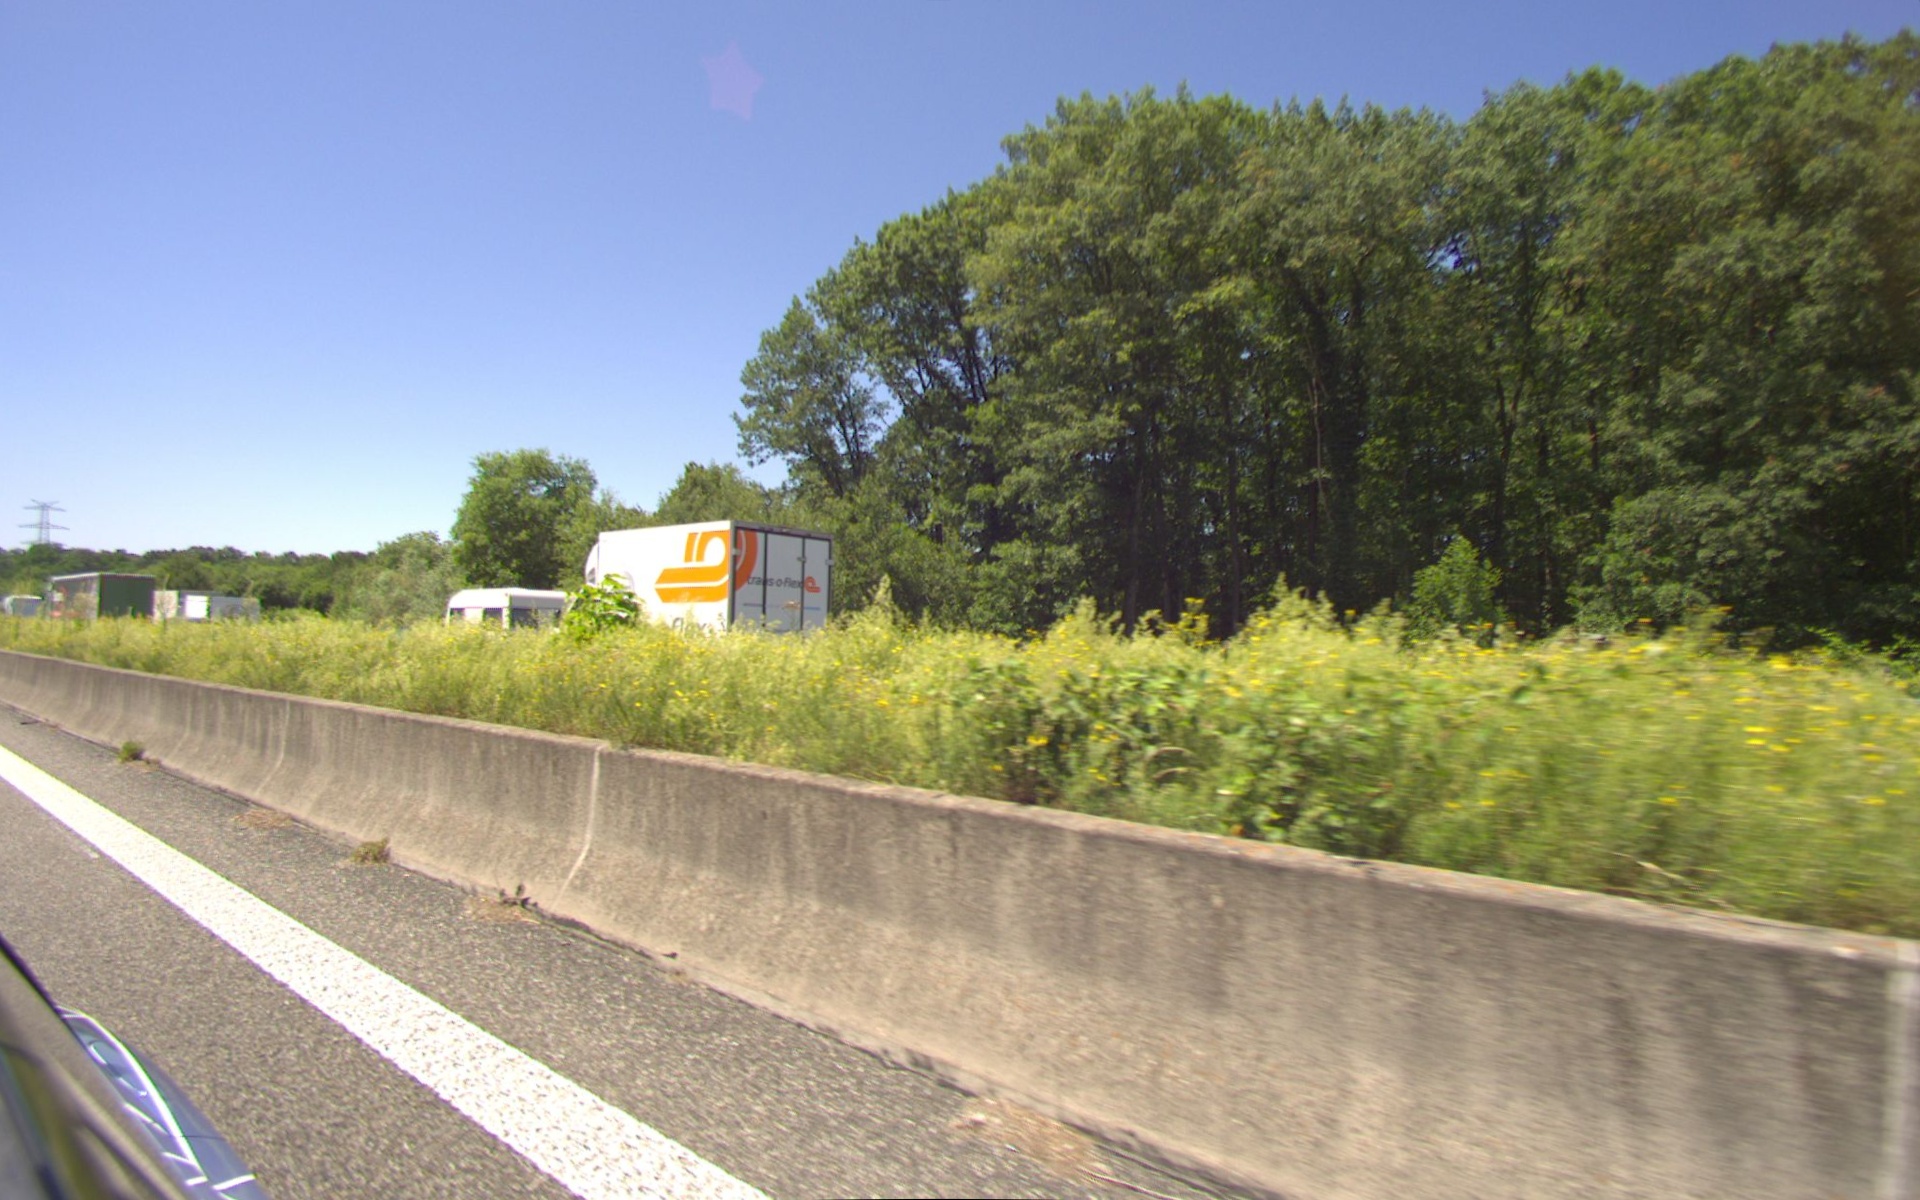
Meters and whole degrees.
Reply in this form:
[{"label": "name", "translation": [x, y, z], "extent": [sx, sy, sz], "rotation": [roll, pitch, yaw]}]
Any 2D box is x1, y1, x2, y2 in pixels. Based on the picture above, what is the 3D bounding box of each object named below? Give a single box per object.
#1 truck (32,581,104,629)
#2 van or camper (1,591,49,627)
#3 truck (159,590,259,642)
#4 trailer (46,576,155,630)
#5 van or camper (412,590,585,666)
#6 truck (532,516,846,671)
[{"label": "truck", "translation": [-59.377, 0.370, 67.327], "extent": [6.966, 3.031, 2.580], "rotation": [-1, -1, 40]}, {"label": "van or camper", "translation": [-85.902, 0.838, 92.955], "extent": [7.530, 3.179, 2.481], "rotation": [-1, 0, 41]}, {"label": "truck", "translation": [-46.695, 0.991, 62.760], "extent": [10.478, 2.964, 2.660], "rotation": [-1, -1, 40]}, {"label": "trailer", "translation": [-52.378, 0.281, 61.452], "extent": [14.219, 2.992, 2.616], "rotation": [-1, -1, 40]}, {"label": "van or camper", "translation": [-13.497, 0.749, 29.407], "extent": [5.881, 2.029, 2.200], "rotation": [0, 0, 39]}, {"label": "truck", "translation": [-5.008, -0.077, 18.127], "extent": [6.072, 2.344, 2.288], "rotation": [0, -1, 38]}]
